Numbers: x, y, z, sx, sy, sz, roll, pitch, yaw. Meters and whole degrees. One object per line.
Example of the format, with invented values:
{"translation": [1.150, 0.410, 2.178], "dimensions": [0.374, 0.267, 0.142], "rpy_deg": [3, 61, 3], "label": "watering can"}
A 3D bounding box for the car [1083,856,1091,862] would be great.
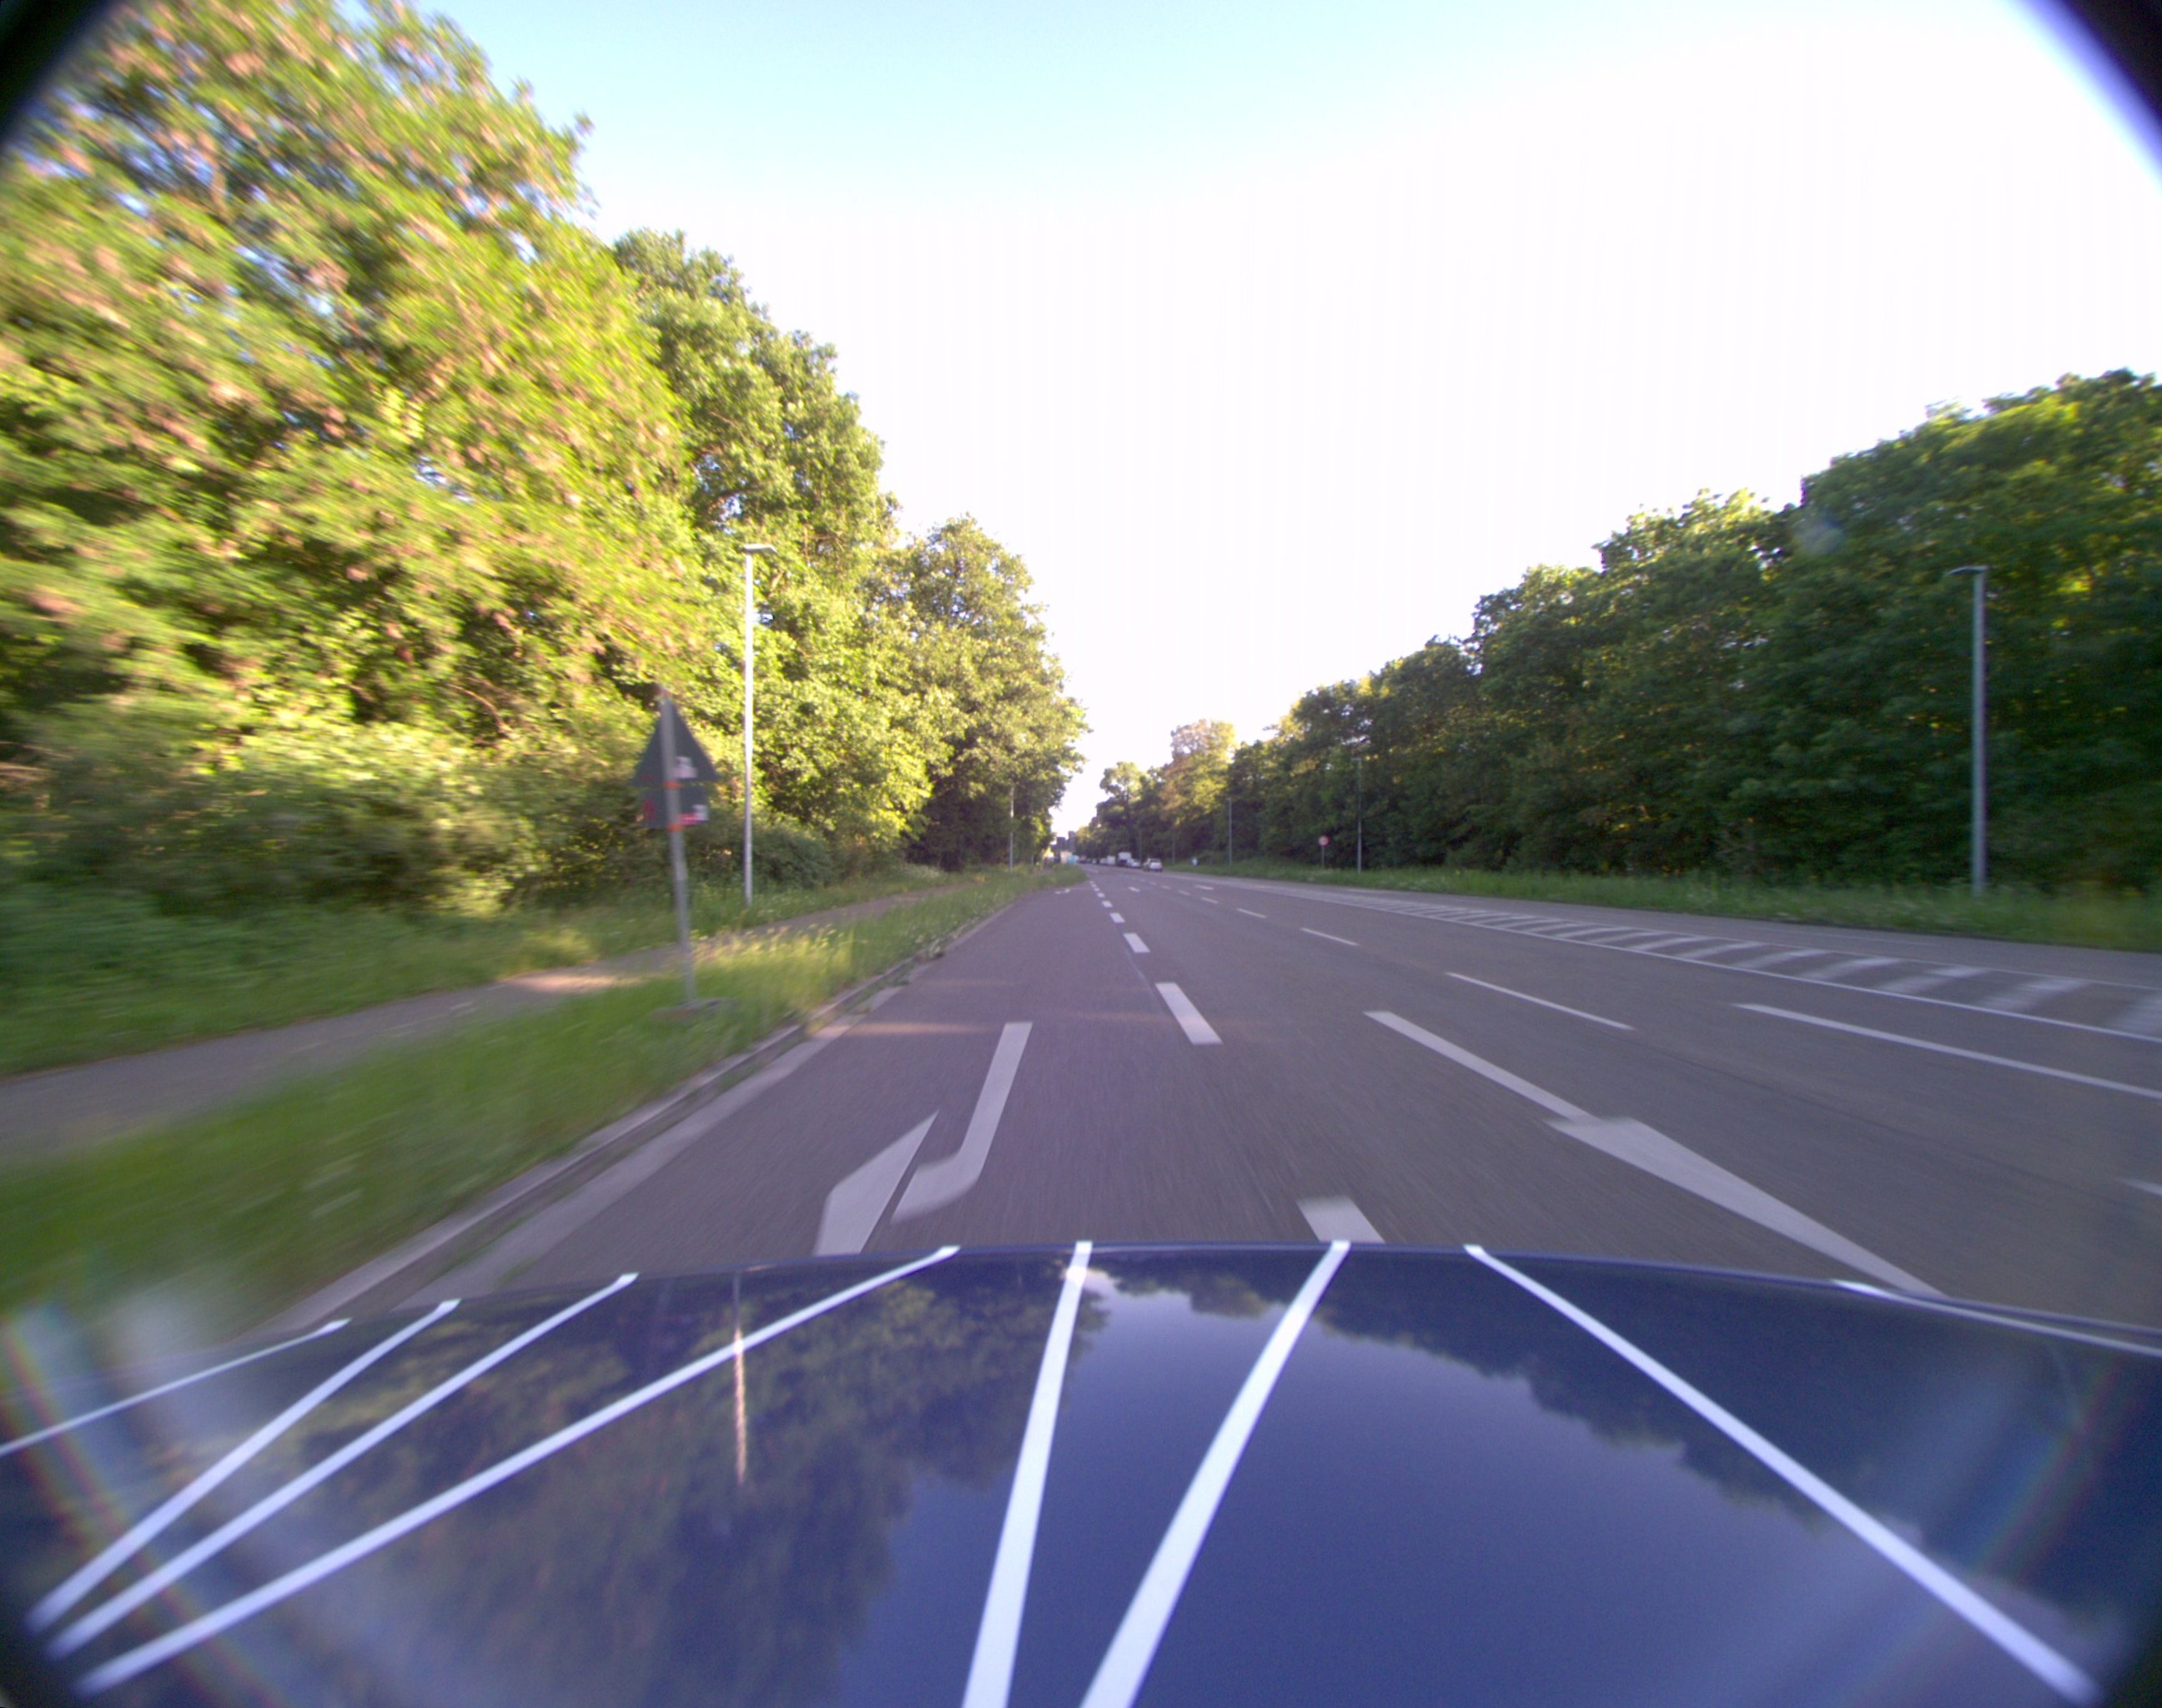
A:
{"translation": [1.546, 1.359, 211.459], "dimensions": [1.915, 1.455, 4.356], "rpy_deg": [1, 0, -4], "label": "car"}

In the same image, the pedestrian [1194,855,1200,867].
{"translation": [15.576, 0.943, 101.815], "dimensions": [0.713, 1.556, 0.826], "rpy_deg": [1, 0, 0], "label": "pedestrian"}

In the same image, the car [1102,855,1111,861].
{"translation": [6.369, 1.083, 190.438], "dimensions": [1.807, 1.496, 3.911], "rpy_deg": [1, 0, -4], "label": "car"}

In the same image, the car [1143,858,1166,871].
{"translation": [8.455, 1.174, 87.807], "dimensions": [1.834, 1.446, 4.478], "rpy_deg": [2, 0, -5], "label": "car"}

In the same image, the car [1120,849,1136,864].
{"translation": [8.939, 0.437, 145.883], "dimensions": [2.461, 2.830, 4.797], "rpy_deg": [1, 0, -4], "label": "car"}

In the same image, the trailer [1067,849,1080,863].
{"translation": [-1.276, 0.348, 123.547], "dimensions": [1.870, 2.165, 4.127], "rpy_deg": [-2, 0, -4], "label": "trailer"}

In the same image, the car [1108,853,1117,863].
{"translation": [7.322, 0.946, 177.916], "dimensions": [1.692, 2.089, 4.631], "rpy_deg": [1, 0, -4], "label": "car"}

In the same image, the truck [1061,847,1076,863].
{"translation": [-2.314, 0.143, 141.414], "dimensions": [2.390, 2.855, 5.596], "rpy_deg": [-3, 1, -4], "label": "truck"}

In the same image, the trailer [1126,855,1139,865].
{"translation": [9.037, 1.112, 133.767], "dimensions": [1.807, 1.719, 3.646], "rpy_deg": [1, 0, -4], "label": "trailer"}

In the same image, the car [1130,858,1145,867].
{"translation": [9.529, 1.419, 128.589], "dimensions": [1.915, 1.455, 4.010], "rpy_deg": [1, 0, -4], "label": "car"}

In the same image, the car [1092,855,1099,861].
{"translation": [4.702, 1.294, 242.983], "dimensions": [1.999, 2.002, 3.999], "rpy_deg": [0, 0, -1], "label": "car"}

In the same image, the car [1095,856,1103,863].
{"translation": [5.032, 1.464, 216.855], "dimensions": [1.999, 2.002, 3.999], "rpy_deg": [-1, 0, -3], "label": "car"}

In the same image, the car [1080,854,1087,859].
{"translation": [0.717, 0.736, 240.888], "dimensions": [1.807, 1.455, 3.911], "rpy_deg": [1, 0, -4], "label": "car"}

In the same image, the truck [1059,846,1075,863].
{"translation": [-2.790, 0.152, 150.211], "dimensions": [2.707, 3.218, 7.125], "rpy_deg": [1, 0, -4], "label": "truck"}
